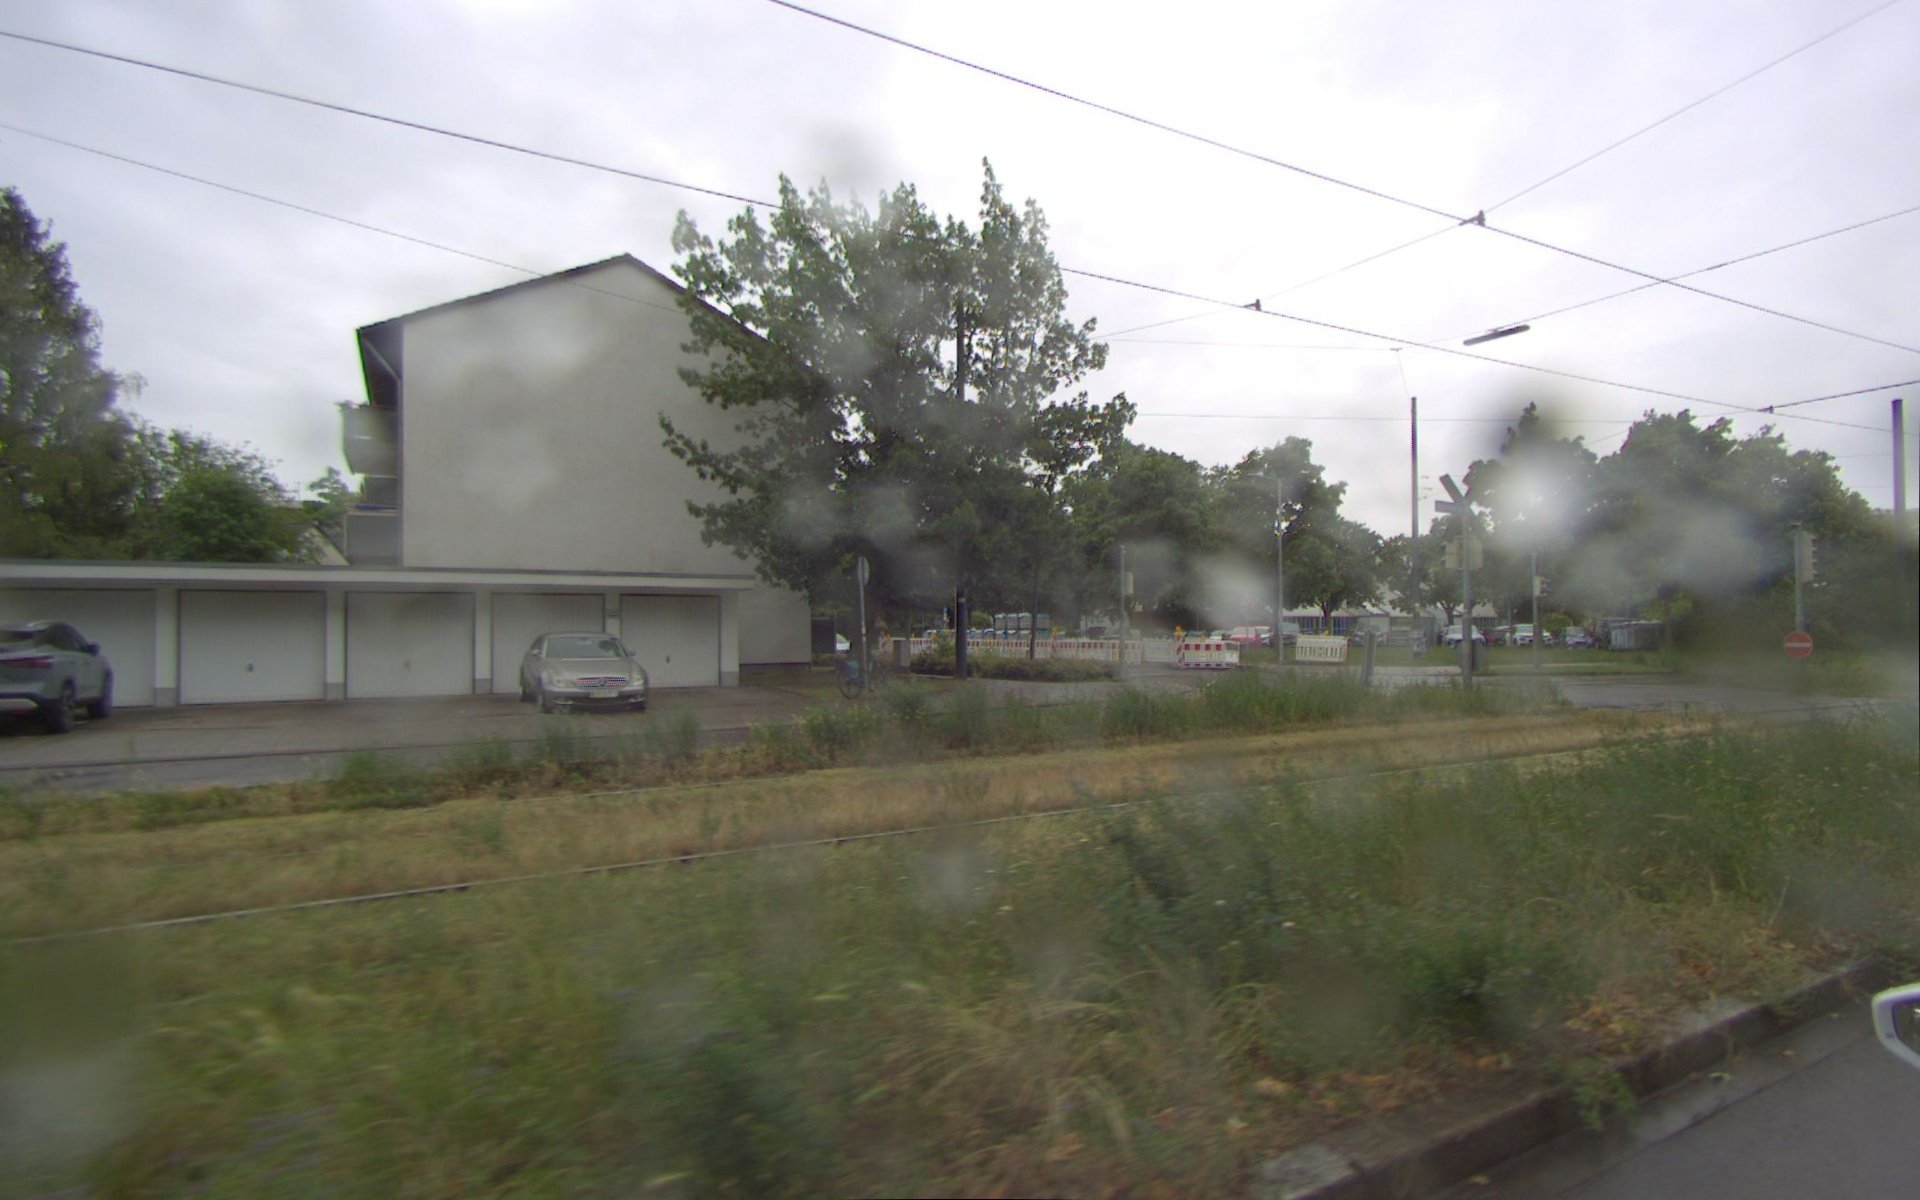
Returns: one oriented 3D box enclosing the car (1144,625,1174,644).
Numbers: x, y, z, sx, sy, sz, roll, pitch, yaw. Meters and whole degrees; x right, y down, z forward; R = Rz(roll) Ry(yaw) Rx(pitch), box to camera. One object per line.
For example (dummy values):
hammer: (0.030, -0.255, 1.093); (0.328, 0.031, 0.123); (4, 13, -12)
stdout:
car: (14.081, 2.450, 71.103); (1.632, 1.342, 3.743); (-1, -2, 18)

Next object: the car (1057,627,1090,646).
car: (8.273, 2.665, 72.770); (1.632, 1.342, 3.743); (-1, -2, 18)

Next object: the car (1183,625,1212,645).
car: (16.438, 2.399, 69.550); (1.632, 1.342, 3.743); (-1, -2, 18)

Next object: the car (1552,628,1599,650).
car: (37.796, 2.407, 61.761); (1.632, 1.265, 3.743); (-1, -2, 18)

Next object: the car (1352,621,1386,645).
car: (22.649, 1.824, 55.738); (1.633, 1.265, 3.742); (-1, -2, 21)

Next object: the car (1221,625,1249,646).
car: (18.795, 2.428, 68.655); (1.632, 1.342, 3.743); (-1, -2, 18)

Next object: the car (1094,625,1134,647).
car: (9.334, 2.163, 60.595); (1.633, 1.265, 3.742); (-1, -2, 21)

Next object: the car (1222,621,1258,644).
car: (16.085, 1.880, 57.567); (1.633, 1.265, 3.742); (-1, -2, 21)

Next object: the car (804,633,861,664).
car: (-6.781, 2.553, 53.246); (1.732, 1.550, 3.600); (0, -2, -30)

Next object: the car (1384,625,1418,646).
car: (28.460, 2.291, 64.915); (1.632, 1.342, 3.743); (-1, -2, 18)

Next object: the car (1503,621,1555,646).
car: (29.633, 1.758, 52.418); (1.632, 1.265, 3.743); (-1, -2, 18)

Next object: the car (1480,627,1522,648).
car: (33.687, 2.330, 62.588); (1.632, 1.265, 3.743); (-1, -2, 18)

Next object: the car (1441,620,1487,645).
car: (26.552, 1.720, 53.006); (1.632, 1.265, 3.743); (-1, -2, 18)

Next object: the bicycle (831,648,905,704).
bicycle: (-1.919, 1.585, 21.281); (0.474, 1.033, 1.836); (2, 1, 35)

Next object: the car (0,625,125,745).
car: (-14.101, 1.202, 15.013); (1.871, 1.597, 3.967); (0, -2, -31)

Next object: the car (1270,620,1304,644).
car: (18.418, 1.807, 56.454); (1.633, 1.265, 3.742); (-1, -2, 21)

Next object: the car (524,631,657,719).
car: (-7.190, 1.326, 19.241); (1.825, 1.383, 4.707); (0, -1, -27)
